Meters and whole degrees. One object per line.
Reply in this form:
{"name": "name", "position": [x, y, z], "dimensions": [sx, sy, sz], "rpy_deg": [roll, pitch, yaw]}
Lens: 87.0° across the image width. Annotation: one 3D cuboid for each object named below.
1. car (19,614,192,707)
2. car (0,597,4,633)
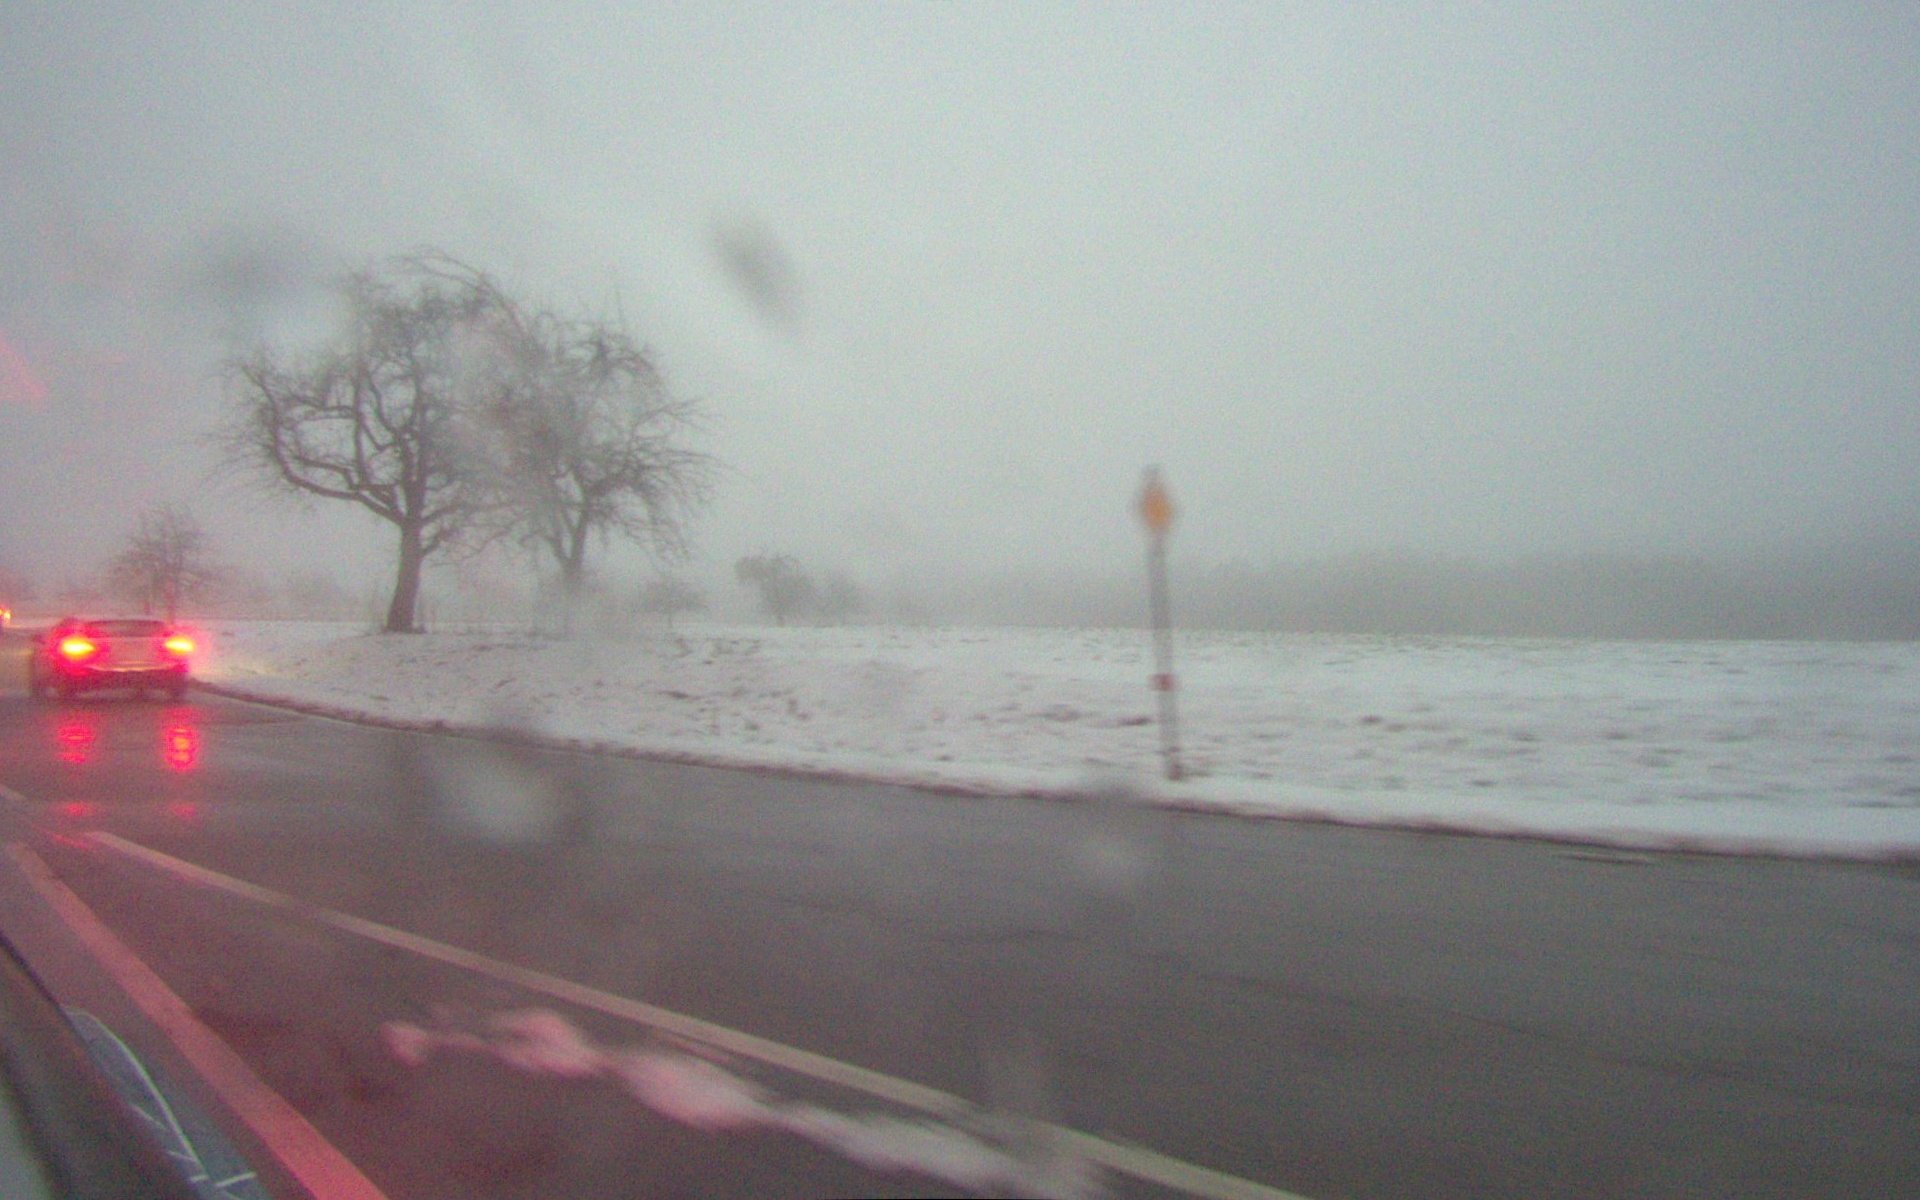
{"name": "car", "position": [-15.507, 1.050, 18.308], "dimensions": [4.001, 1.498, 1.724], "rpy_deg": [-2, -3, 40]}
{"name": "car", "position": [-46.876, 0.715, 48.241], "dimensions": [1.730, 1.706, 4.431], "rpy_deg": [1, -1, -42]}
